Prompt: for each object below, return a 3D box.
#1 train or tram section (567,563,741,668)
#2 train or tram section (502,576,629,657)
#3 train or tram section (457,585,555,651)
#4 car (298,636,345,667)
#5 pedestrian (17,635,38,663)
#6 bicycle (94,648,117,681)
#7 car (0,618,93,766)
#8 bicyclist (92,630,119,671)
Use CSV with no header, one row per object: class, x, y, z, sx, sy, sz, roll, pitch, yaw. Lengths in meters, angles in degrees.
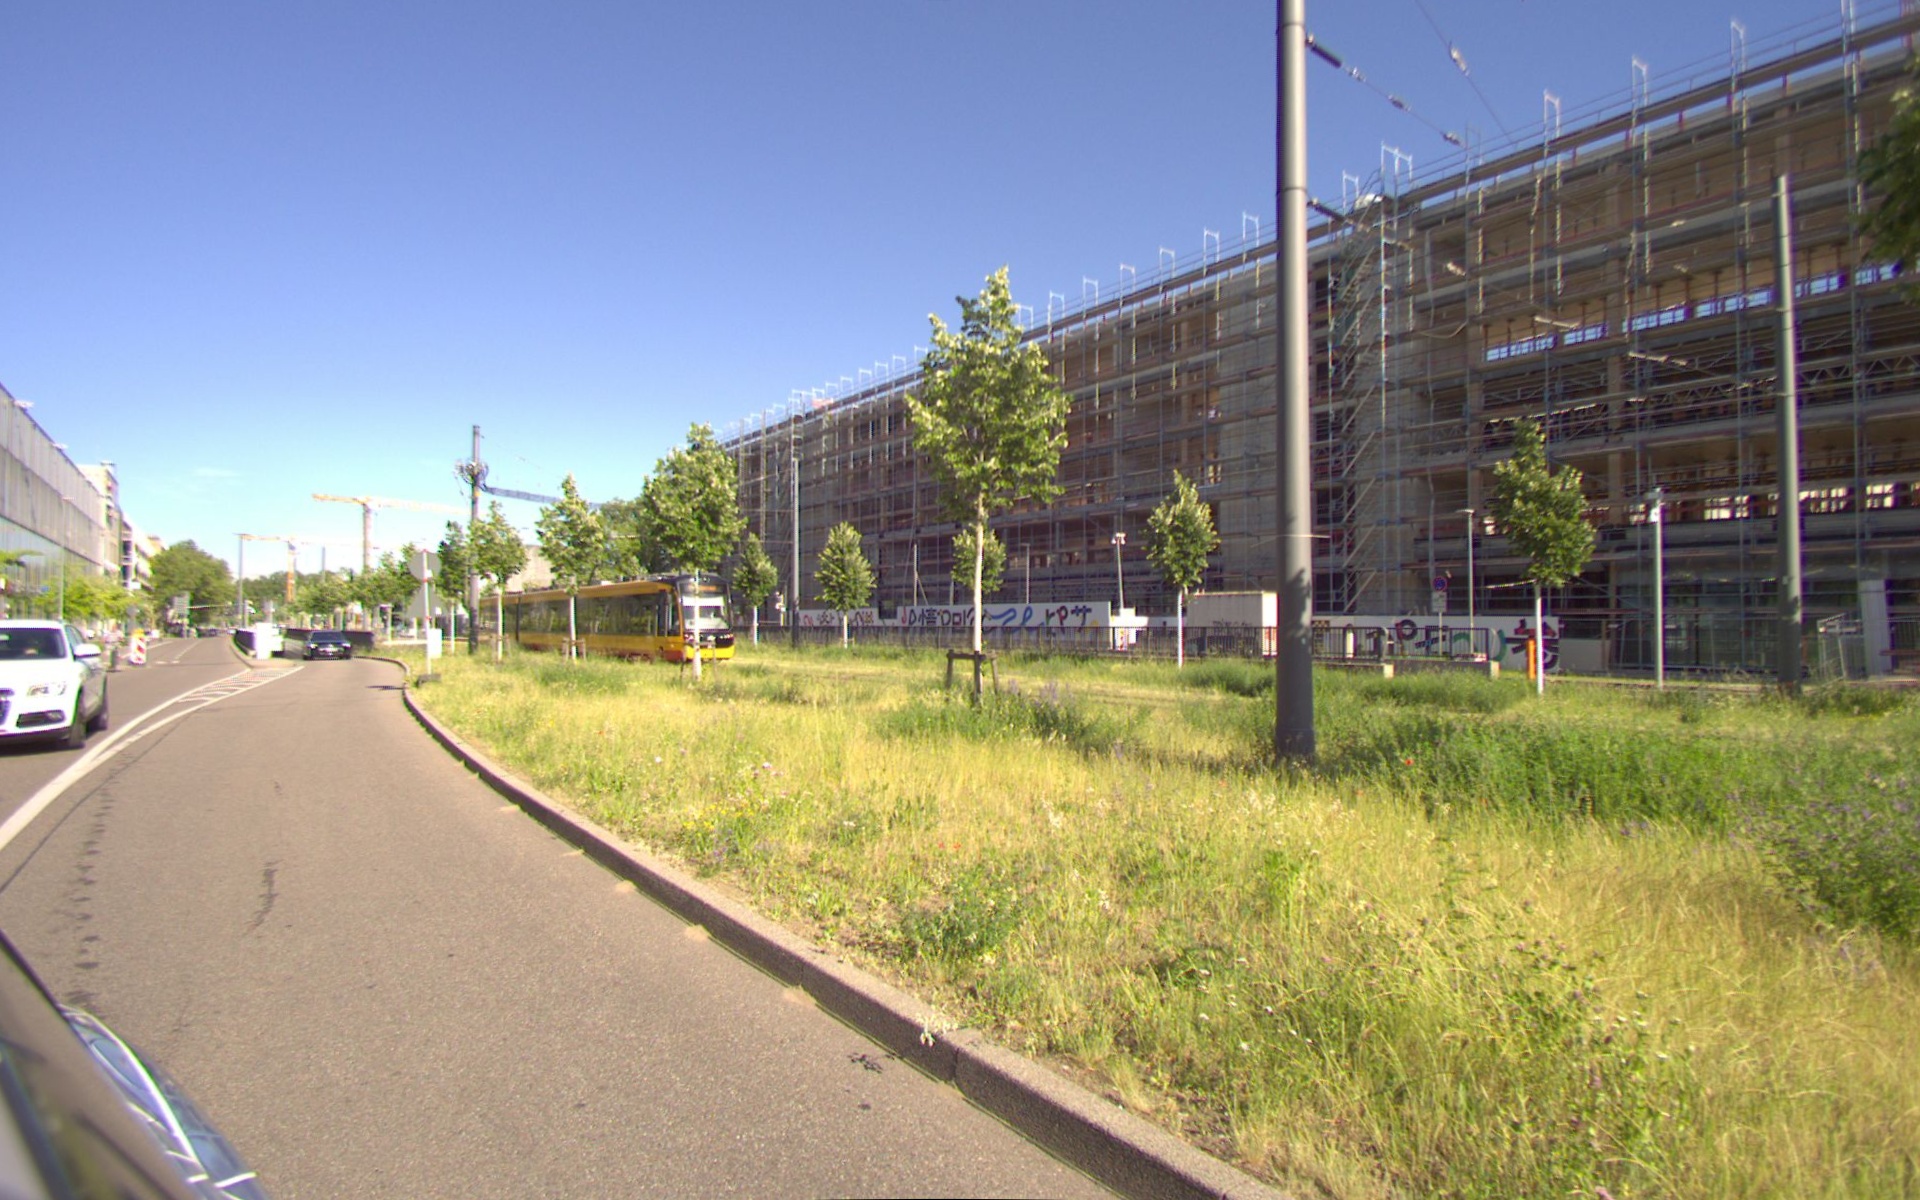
train or tram section,-12.874,0.680,41.351,2.778,3.666,12.819,1,-2,-36
train or tram section,-20.420,0.897,51.711,2.778,3.666,12.818,1,-2,-36
train or tram section,-28.032,1.129,62.047,2.778,3.666,12.818,1,-2,-36
car,-32.371,2.575,51.255,1.897,1.454,4.188,1,-2,-34
pedestrian,-64.913,3.414,70.447,0.864,1.938,0.897,4,-2,-37
bicycle,-31.654,2.373,37.481,0.601,1.160,1.990,1,-2,-41
car,-12.393,1.101,12.784,1.904,1.646,4.009,-1,-1,-37
bicyclist,-31.633,1.859,37.465,0.744,1.473,0.588,0,-1,-42
